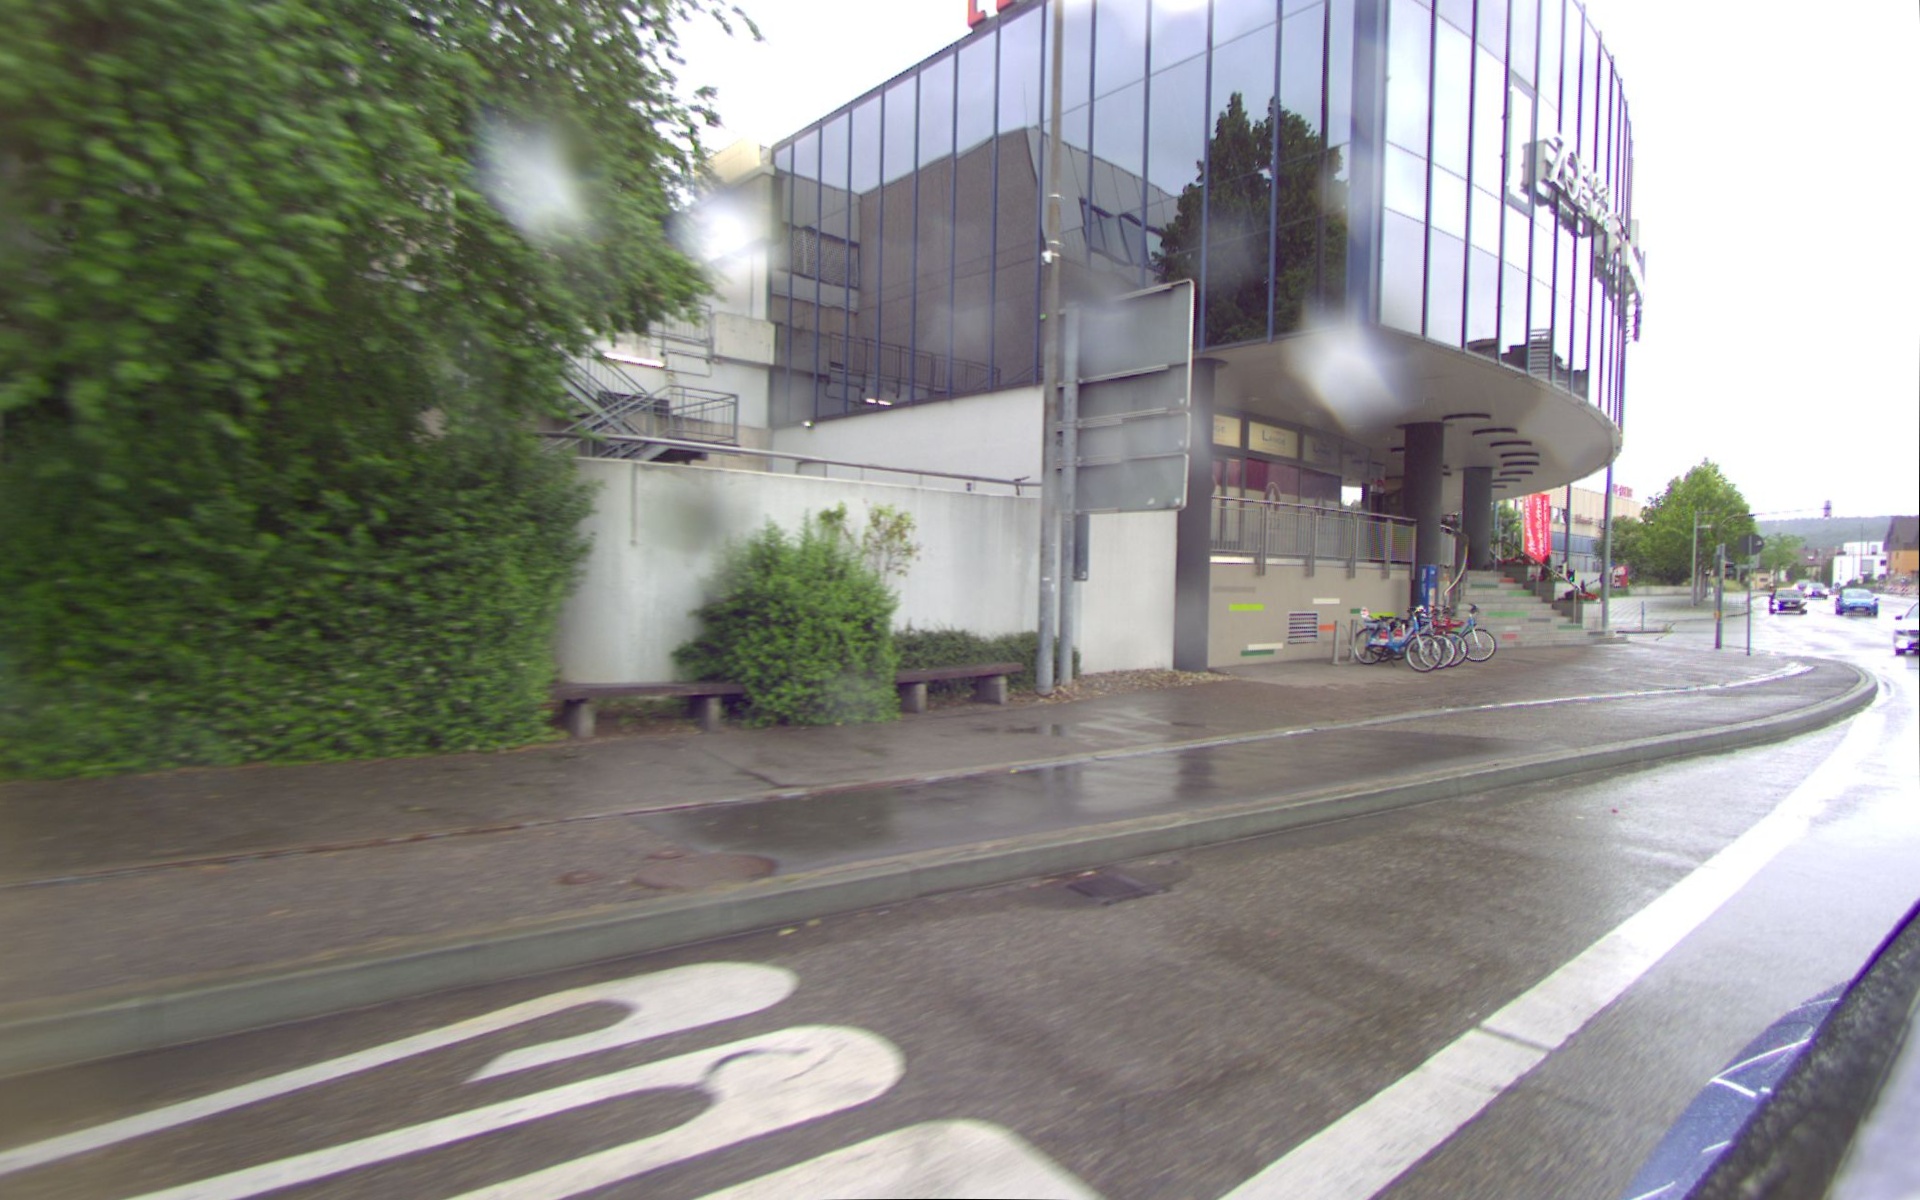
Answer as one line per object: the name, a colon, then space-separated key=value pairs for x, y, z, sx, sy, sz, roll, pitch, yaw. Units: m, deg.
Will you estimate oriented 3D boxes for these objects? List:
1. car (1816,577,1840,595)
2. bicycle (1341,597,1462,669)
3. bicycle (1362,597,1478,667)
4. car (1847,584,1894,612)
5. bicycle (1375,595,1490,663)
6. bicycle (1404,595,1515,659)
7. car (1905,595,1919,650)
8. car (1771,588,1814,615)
car: x=80.568 y=-1.272 z=93.925 sx=1.578 sy=1.660 sz=3.586 roll=1 pitch=1 yaw=42
bicycle: x=7.795 y=0.553 z=17.927 sx=0.682 sy=1.124 sz=1.814 roll=1 pitch=3 yaw=-40
bicycle: x=8.373 y=0.546 z=18.486 sx=0.673 sy=1.098 sz=1.805 roll=-2 pitch=5 yaw=-40
car: x=52.343 y=-0.129 z=58.229 sx=1.894 sy=1.545 sz=3.940 roll=1 pitch=1 yaw=41
bicycle: x=8.856 y=0.525 z=19.025 sx=0.682 sy=1.124 sz=1.814 roll=1 pitch=3 yaw=-40
bicycle: x=9.920 y=0.504 z=20.152 sx=0.682 sy=1.124 sz=1.834 roll=-1 pitch=3 yaw=-40
car: x=29.510 y=0.633 z=29.836 sx=4.247 sy=1.569 sz=1.762 roll=0 pitch=0 yaw=-38
car: x=50.289 y=0.076 z=61.095 sx=1.894 sy=1.545 sz=3.940 roll=1 pitch=1 yaw=41
